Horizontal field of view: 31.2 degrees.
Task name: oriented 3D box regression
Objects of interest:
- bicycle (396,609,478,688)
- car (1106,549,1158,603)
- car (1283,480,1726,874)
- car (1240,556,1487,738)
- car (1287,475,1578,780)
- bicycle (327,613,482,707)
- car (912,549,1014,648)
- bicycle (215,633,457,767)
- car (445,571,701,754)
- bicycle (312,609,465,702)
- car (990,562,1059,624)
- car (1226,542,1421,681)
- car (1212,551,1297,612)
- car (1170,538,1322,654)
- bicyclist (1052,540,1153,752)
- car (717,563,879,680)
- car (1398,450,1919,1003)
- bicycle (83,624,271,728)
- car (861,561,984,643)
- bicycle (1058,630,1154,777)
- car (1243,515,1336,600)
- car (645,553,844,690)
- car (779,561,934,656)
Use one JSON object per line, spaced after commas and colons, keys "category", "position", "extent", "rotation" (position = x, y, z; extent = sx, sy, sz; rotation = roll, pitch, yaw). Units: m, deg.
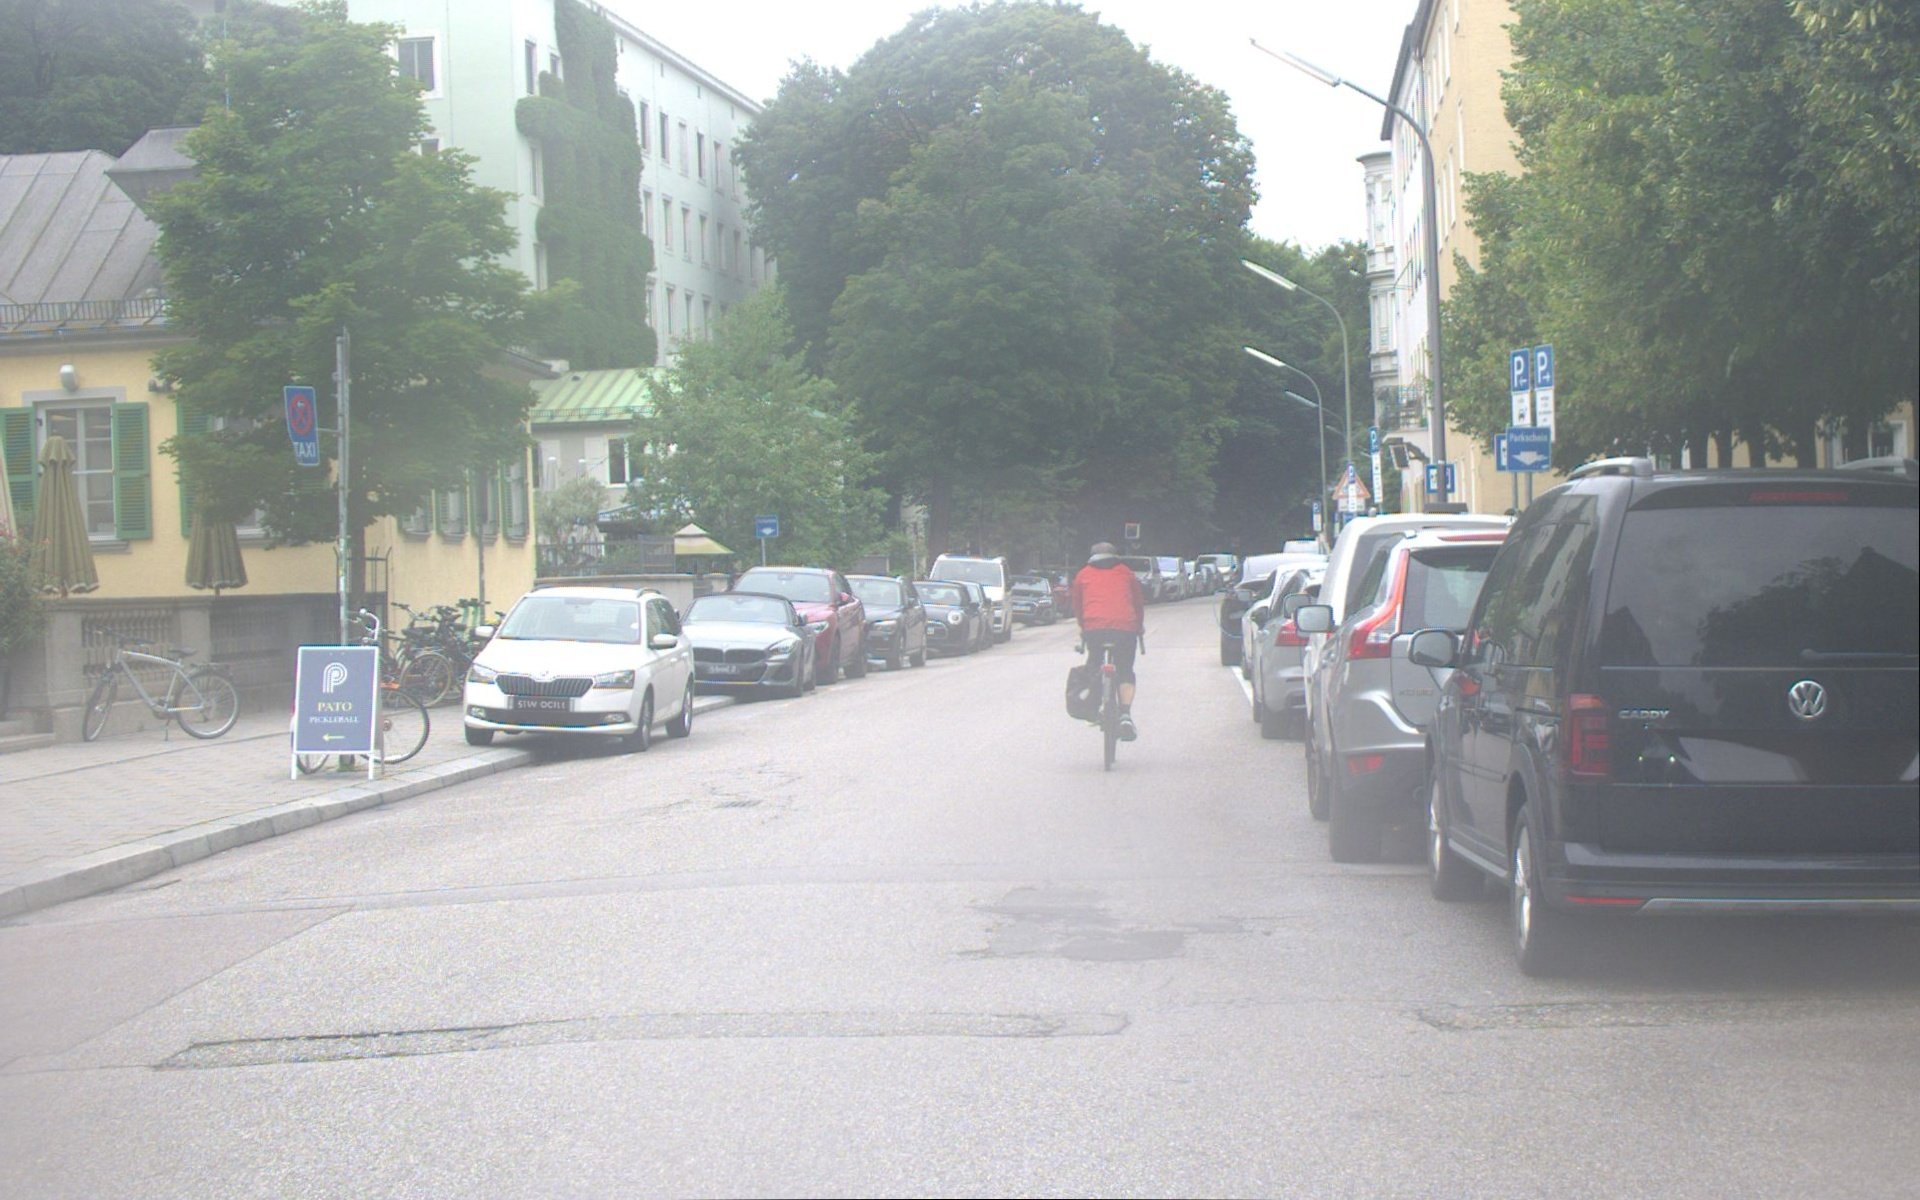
{"category": "bicycle", "position": [-6.745, 0.621, 44.381], "extent": [0.621, 1.001, 1.618], "rotation": [-1, -1, 7]}
{"category": "car", "position": [6.843, -0.974, 136.901], "extent": [1.994, 2.091, 4.000], "rotation": [1, 1, 3]}
{"category": "car", "position": [2.753, 0.323, 18.312], "extent": [1.863, 1.787, 4.509], "rotation": [-2, 1, 4]}
{"category": "car", "position": [3.450, 0.357, 30.038], "extent": [1.863, 1.435, 4.255], "rotation": [-1, 1, 3]}
{"category": "car", "position": [3.276, 0.143, 24.505], "extent": [1.750, 1.936, 4.227], "rotation": [-2, 1, 5]}
{"category": "bicycle", "position": [-6.338, 0.683, 39.221], "extent": [1.613, 1.001, 0.623], "rotation": [-2, -1, -23]}
{"category": "car", "position": [0.093, -0.067, 76.598], "extent": [1.994, 2.072, 4.000], "rotation": [-2, 1, 3]}
{"category": "bicycle", "position": [-5.076, 0.798, 28.100], "extent": [0.623, 1.001, 2.136], "rotation": [2, 2, 34]}
{"category": "car", "position": [-3.598, 0.541, 32.574], "extent": [1.734, 1.576, 3.787], "rotation": [1, 1, 4]}
{"category": "bicycle", "position": [-6.726, 0.653, 40.498], "extent": [1.614, 1.001, 0.623], "rotation": [-3, 0, -34]}
{"category": "car", "position": [1.881, -0.215, 99.322], "extent": [1.810, 1.677, 4.000], "rotation": [-2, 1, 3]}
{"category": "car", "position": [4.337, 0.105, 41.529], "extent": [1.993, 1.546, 4.000], "rotation": [-1, 1, 1]}
{"category": "car", "position": [7.919, -0.518, 92.712], "extent": [1.993, 1.546, 4.000], "rotation": [-1, 1, 1]}
{"category": "car", "position": [4.194, -0.081, 50.956], "extent": [1.993, 1.612, 4.000], "rotation": [-1, 1, 1]}
{"category": "bicyclist", "position": [1.050, 0.335, 25.127], "extent": [0.672, 1.492, 1.094], "rotation": [-2, -1, 3]}
{"category": "car", "position": [-2.319, 0.302, 50.211], "extent": [1.994, 1.597, 4.000], "rotation": [-1, 0, 2]}
{"category": "car", "position": [2.844, 0.384, 13.484], "extent": [1.760, 1.817, 4.139], "rotation": [-1, 1, 1]}
{"category": "bicycle", "position": [-7.403, 0.715, 32.496], "extent": [1.613, 0.922, 0.651], "rotation": [-2, -1, -23]}
{"category": "car", "position": [-0.702, 0.023, 68.033], "extent": [1.994, 1.481, 3.999], "rotation": [-2, 1, 5]}
{"category": "bicycle", "position": [1.078, 0.731, 25.052], "extent": [0.621, 1.001, 2.140], "rotation": [-2, -1, 4]}
{"category": "car", "position": [8.306, -1.085, 87.053], "extent": [1.993, 2.053, 4.624], "rotation": [-1, 1, 1]}
{"category": "car", "position": [-2.762, 0.240, 45.145], "extent": [1.994, 1.643, 4.655], "rotation": [-2, 1, 4]}
{"category": "car", "position": [-1.675, 0.109, 57.178], "extent": [1.994, 1.481, 3.999], "rotation": [0, 1, 7]}
